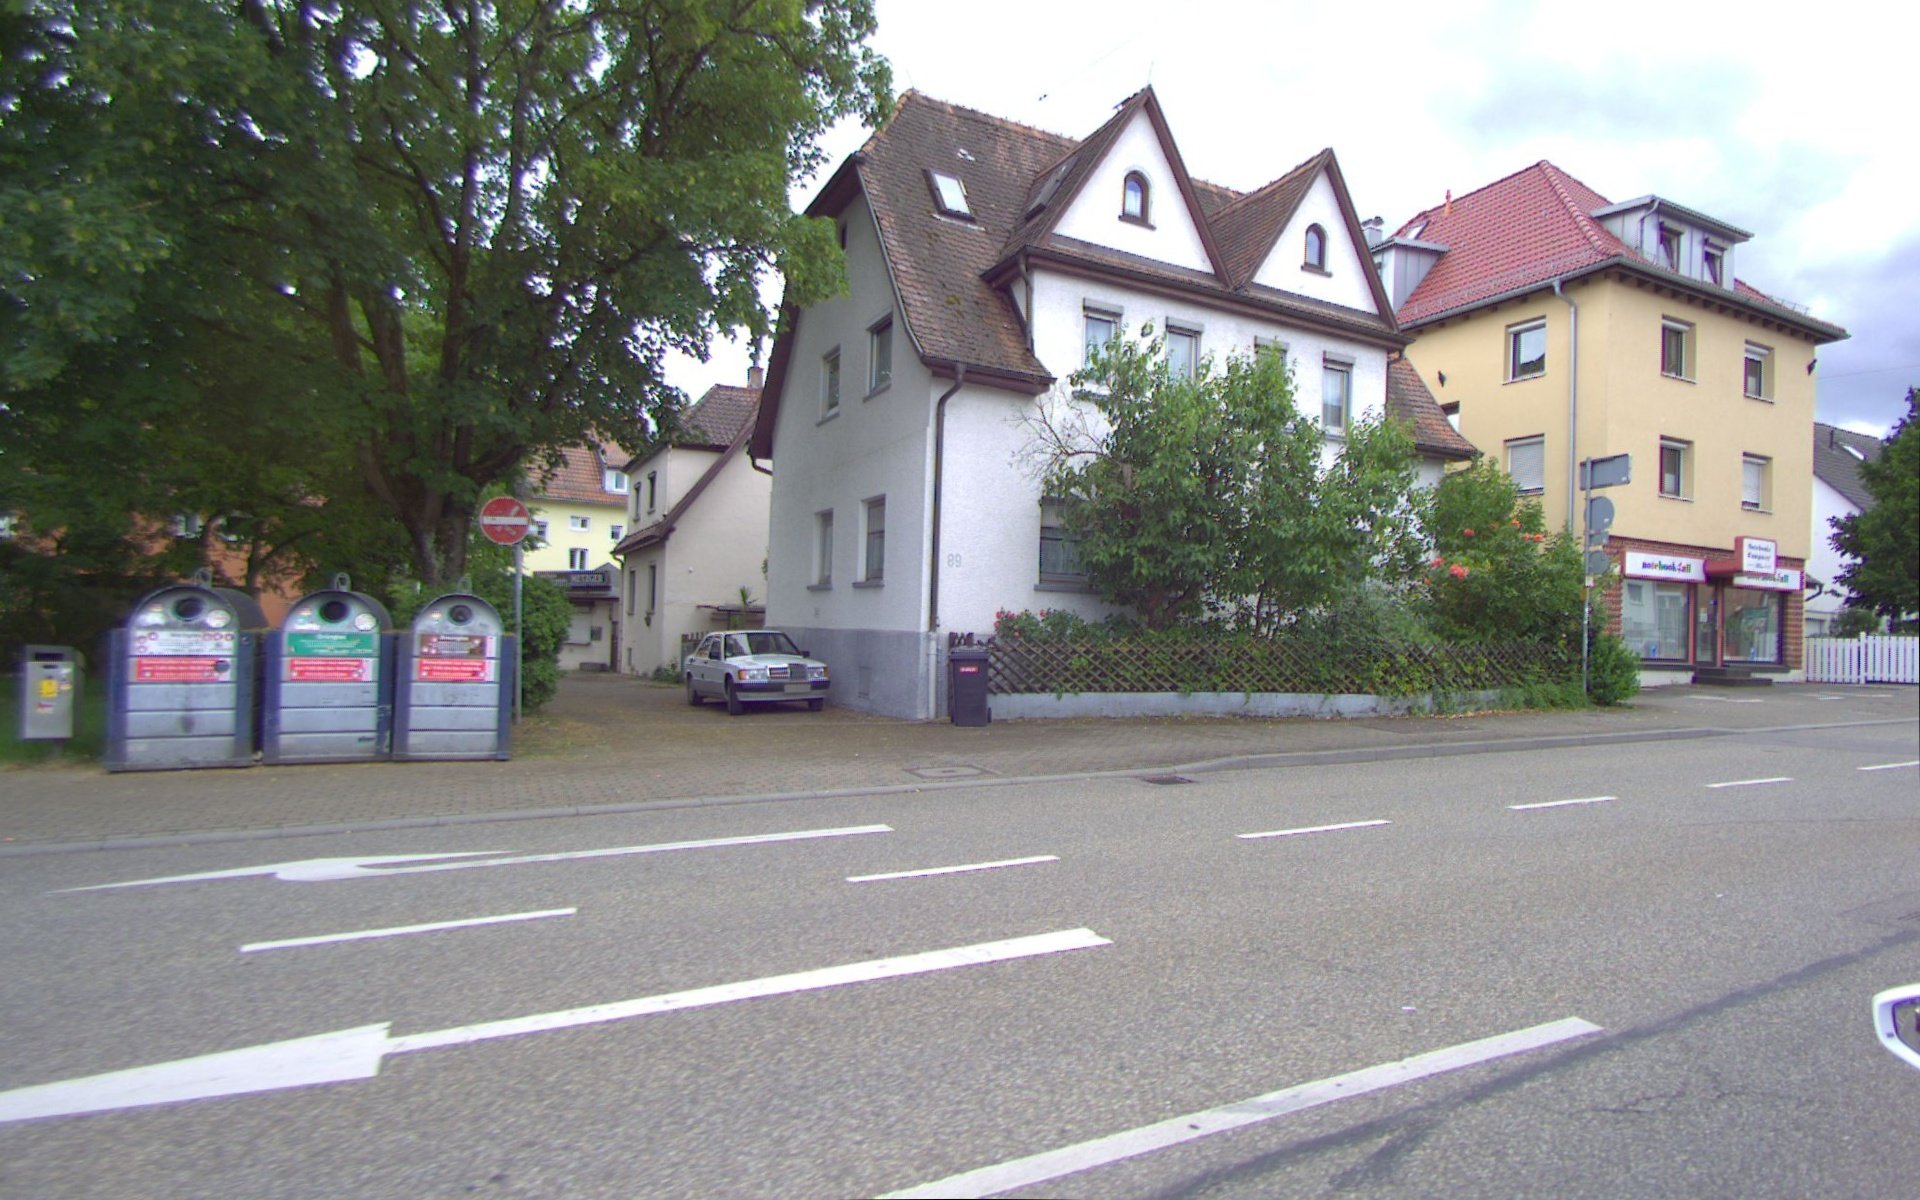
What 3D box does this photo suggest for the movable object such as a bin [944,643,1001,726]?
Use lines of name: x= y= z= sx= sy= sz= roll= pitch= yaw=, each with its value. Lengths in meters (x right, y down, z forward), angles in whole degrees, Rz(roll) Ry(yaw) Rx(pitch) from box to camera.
movable object such as a bin: x=0.181 y=1.134 z=13.645 sx=0.708 sy=1.033 sz=0.720 roll=0 pitch=2 yaw=6

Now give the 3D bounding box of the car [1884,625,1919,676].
car: x=31.873 y=1.595 z=32.356 sx=4.564 sy=1.584 sz=1.798 roll=1 pitch=-3 yaw=-30

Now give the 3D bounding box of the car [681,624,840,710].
car: x=-3.658 y=1.174 z=17.893 sx=1.701 sy=1.349 sz=3.972 roll=3 pitch=-4 yaw=-28
